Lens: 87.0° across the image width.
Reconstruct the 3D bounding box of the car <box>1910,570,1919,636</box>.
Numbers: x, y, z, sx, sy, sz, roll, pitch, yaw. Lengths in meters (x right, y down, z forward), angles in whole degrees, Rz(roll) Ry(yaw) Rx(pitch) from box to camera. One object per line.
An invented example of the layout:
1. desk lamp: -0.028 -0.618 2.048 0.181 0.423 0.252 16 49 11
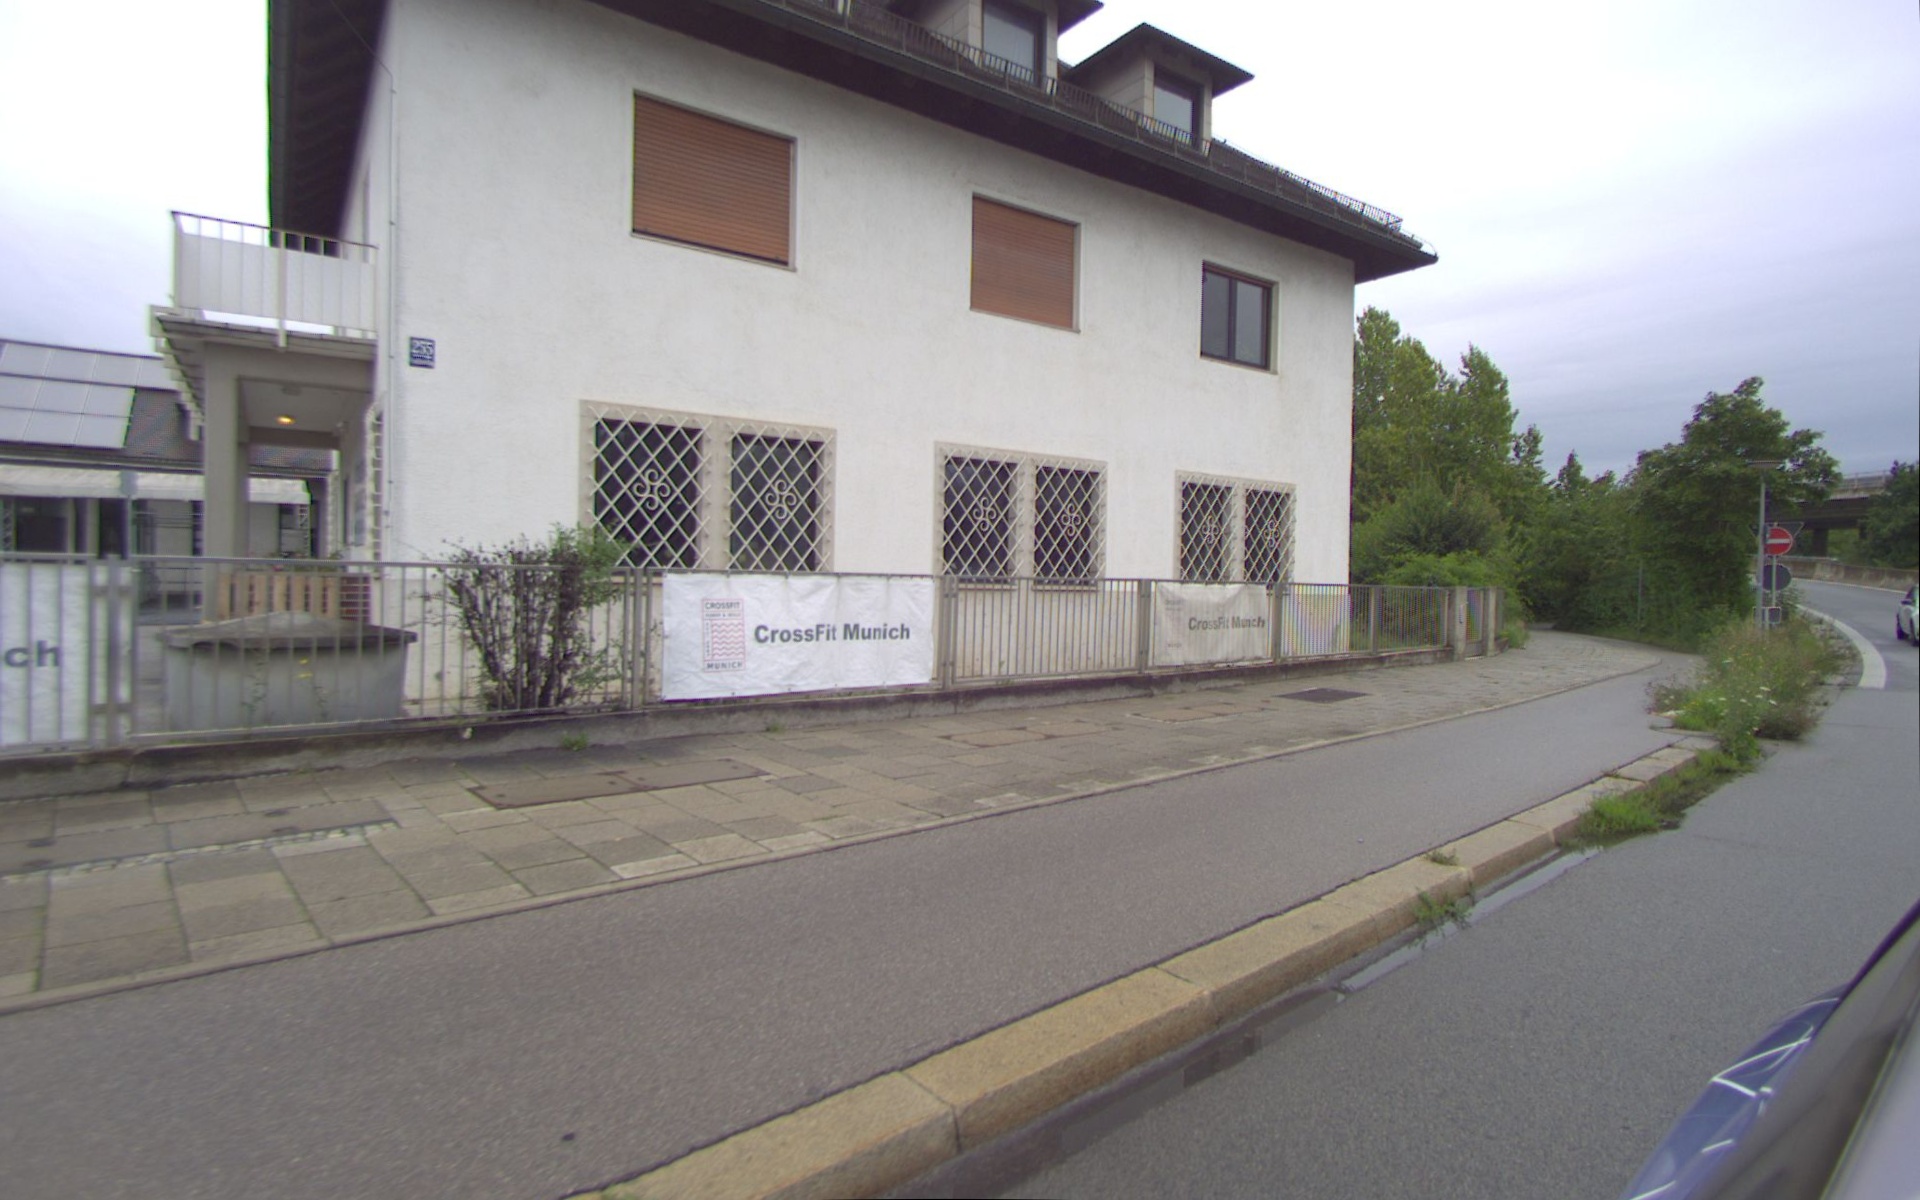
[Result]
1. car: 24.388 0.033 24.474 1.908 1.465 4.489 1 2 42
